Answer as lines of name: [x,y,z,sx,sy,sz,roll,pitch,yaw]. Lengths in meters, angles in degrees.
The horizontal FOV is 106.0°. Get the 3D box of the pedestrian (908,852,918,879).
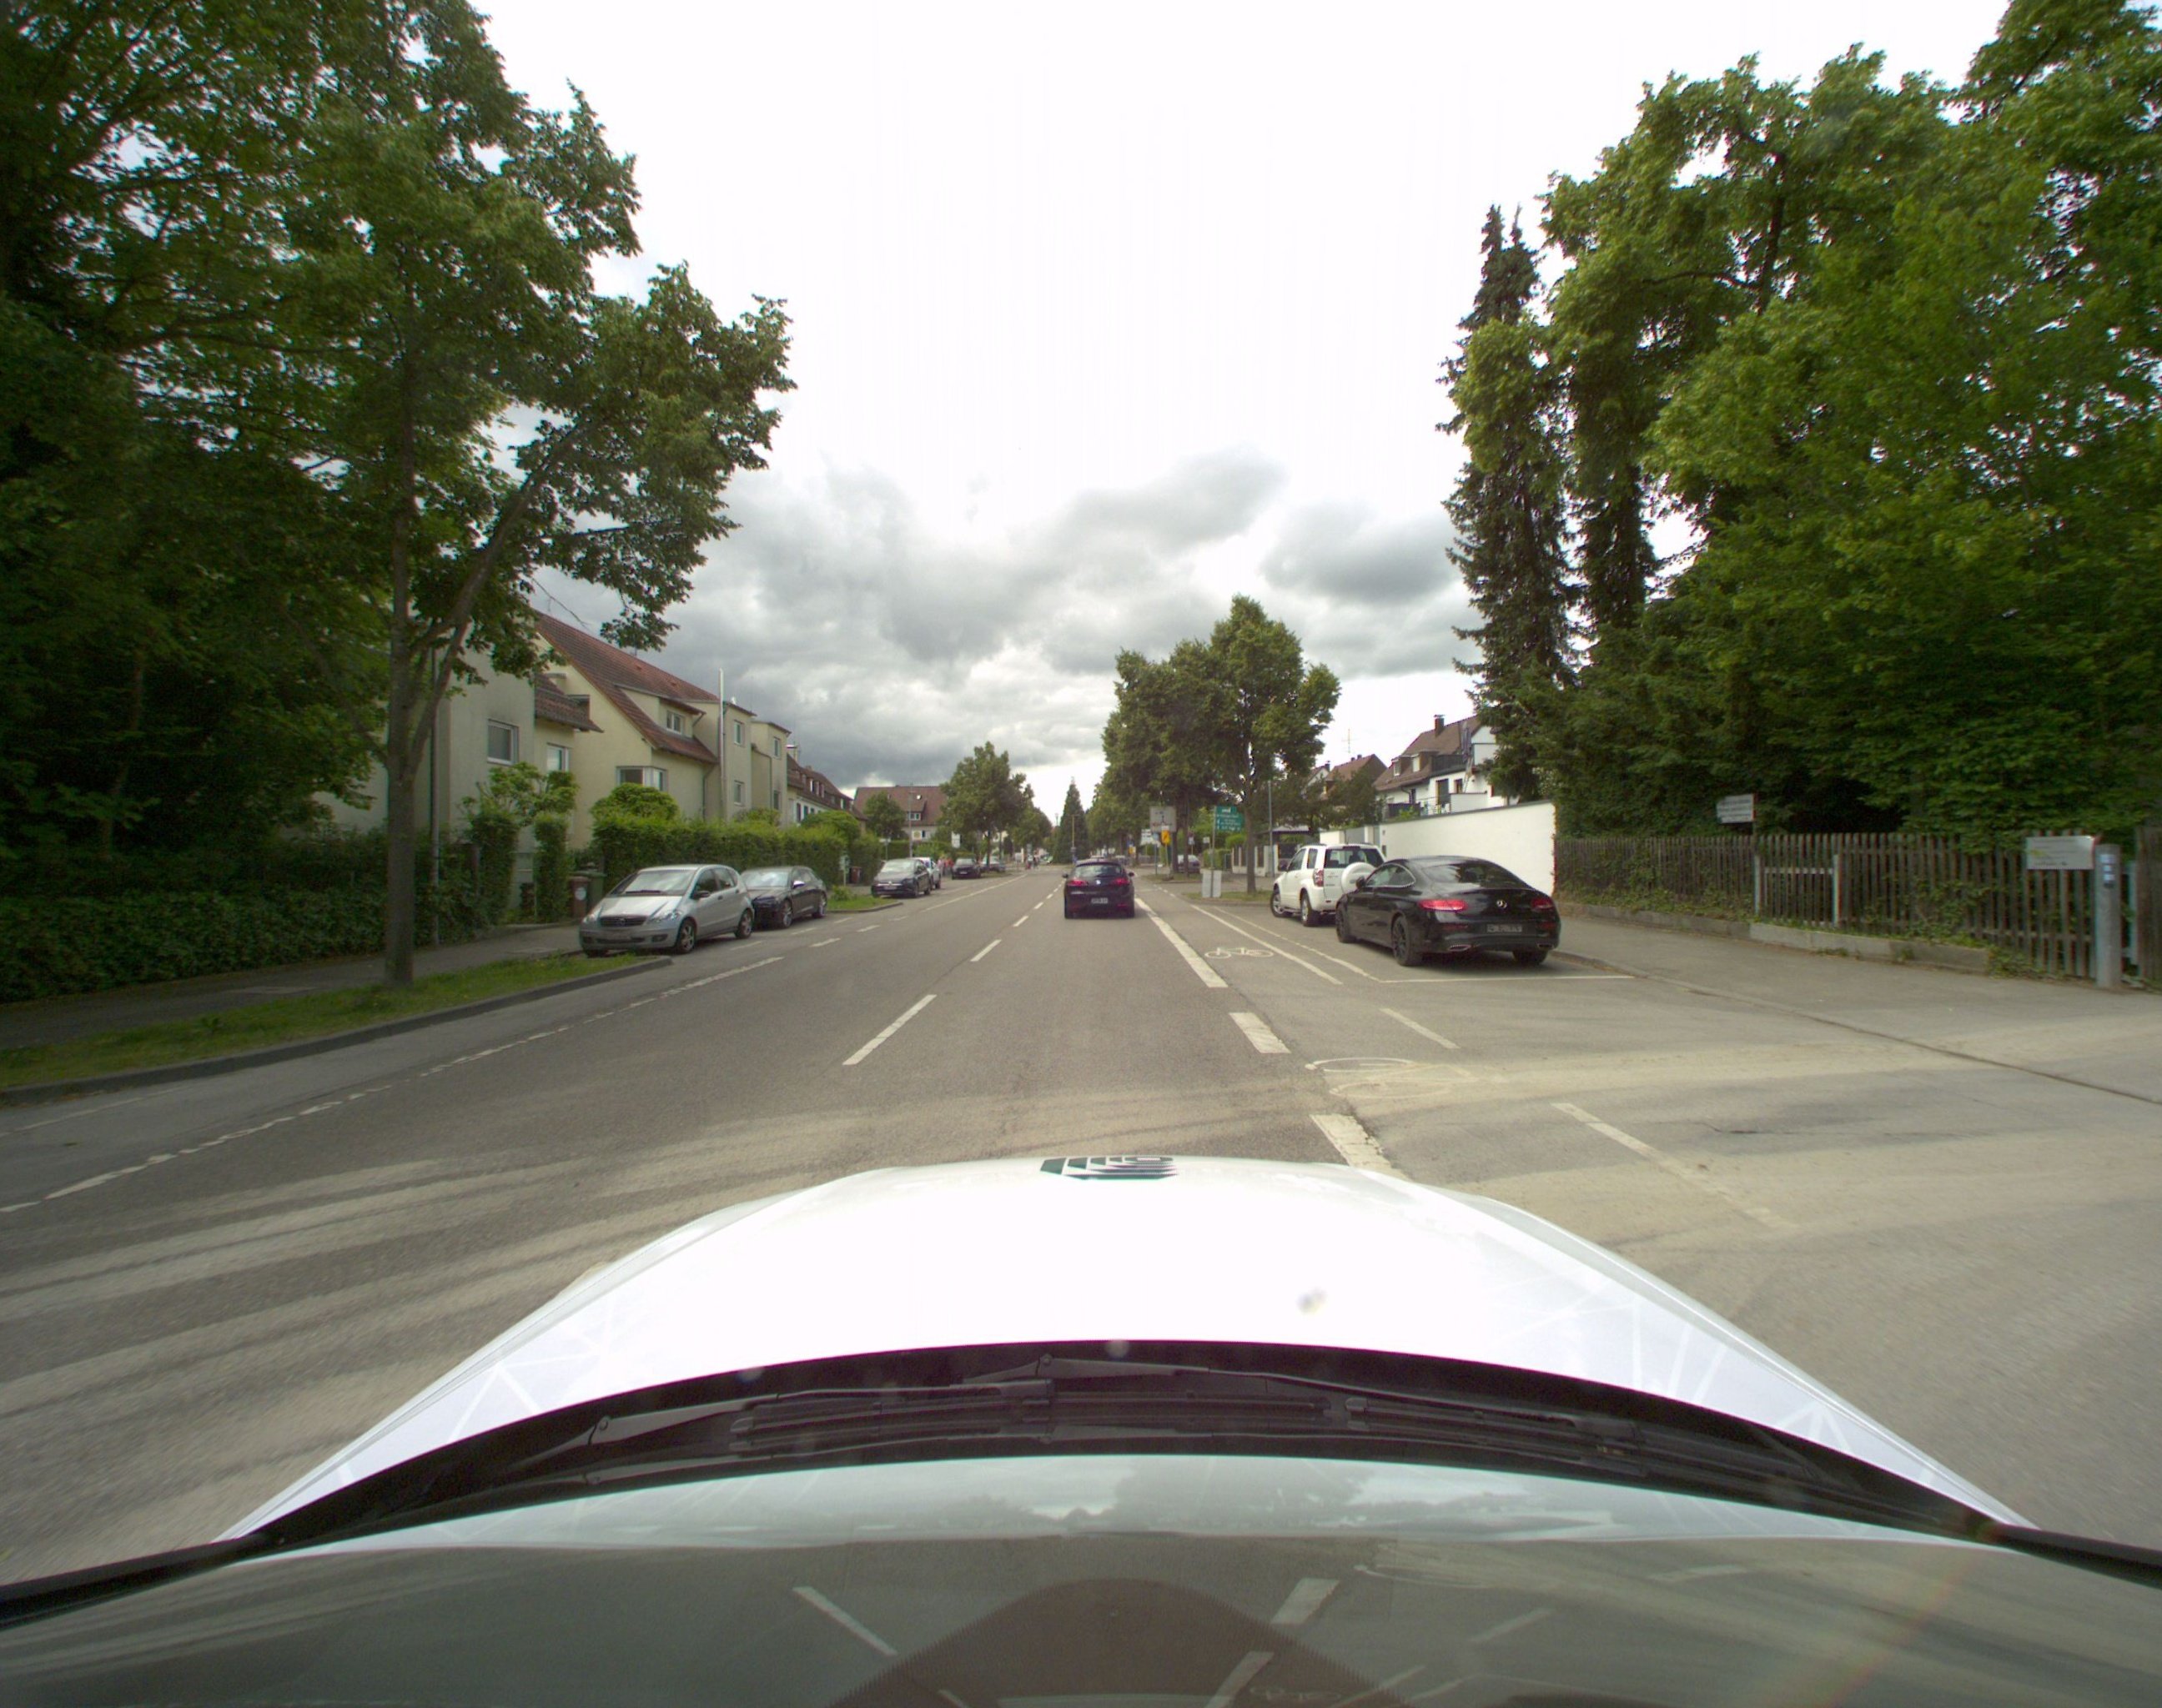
pedestrian: [-11.580,0.792,56.269,0.502,1.806,0.671,-1,0,0]

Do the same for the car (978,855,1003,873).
car: [-8.705,0.939,78.999,1.854,1.653,4.295,-1,0,1]

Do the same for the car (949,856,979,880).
car: [-8.885,1.021,62.366,1.719,1.725,4.562,-1,0,-1]

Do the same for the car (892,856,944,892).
car: [-8.147,0.962,41.075,1.816,1.634,4.582,-2,0,-2]

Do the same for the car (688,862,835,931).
car: [-8.063,1.005,21.125,1.989,1.485,4.886,-2,0,-2]

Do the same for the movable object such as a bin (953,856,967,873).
movable object such as a bin: [-12.140,1.080,81.568,1.202,1.651,0.997,1,-1,-3]

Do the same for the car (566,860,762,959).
car: [-7.825,0.949,15.743,1.712,1.613,3.910,-2,0,0]

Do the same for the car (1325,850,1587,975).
car: [5.039,0.667,11.760,1.856,1.417,4.606,-1,0,3]

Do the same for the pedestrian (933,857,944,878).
pedestrian: [-11.282,1.050,64.554,0.786,1.663,0.879,-1,0,-7]

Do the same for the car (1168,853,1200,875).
car: [6.876,0.713,54.708,1.606,1.377,4.387,-1,-1,1]

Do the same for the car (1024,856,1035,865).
car: [-9.817,1.289,156.405,1.792,1.601,3.999,-2,0,-1]

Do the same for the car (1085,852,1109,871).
car: [1.384,0.638,70.853,1.986,1.613,4.001,-1,0,1]

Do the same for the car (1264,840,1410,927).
car: [5.419,0.585,17.816,1.894,1.642,4.116,-1,-1,0]

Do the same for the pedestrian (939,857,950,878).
pedestrian: [-11.026,1.071,65.831,0.786,1.663,0.590,-1,0,-7]

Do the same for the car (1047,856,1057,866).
car: [-5.176,1.203,145.200,1.564,1.634,3.620,-1,0,-1]

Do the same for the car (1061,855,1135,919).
car: [0.504,0.784,21.259,1.725,1.486,4.003,0,0,3]

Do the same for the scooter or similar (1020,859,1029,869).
scooter or similar: [-6.454,1.152,93.410,0.972,1.095,0.403,1,-1,-29]

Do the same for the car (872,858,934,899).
car: [-7.287,0.970,33.788,1.672,1.552,4.270,-1,0,-1]

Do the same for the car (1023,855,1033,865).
car: [-11.273,1.214,174.539,2.025,1.970,3.996,-2,0,-2]

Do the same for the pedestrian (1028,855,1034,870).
pedestrian: [-5.751,0.967,93.729,0.516,1.669,0.479,-1,0,-23]

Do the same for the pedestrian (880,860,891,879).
pedestrian: [-13.493,1.082,56.205,0.585,1.313,0.706,-1,0,1]

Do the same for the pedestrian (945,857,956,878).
pedestrian: [-10.435,1.084,64.944,0.786,1.663,0.752,-1,0,-7]
